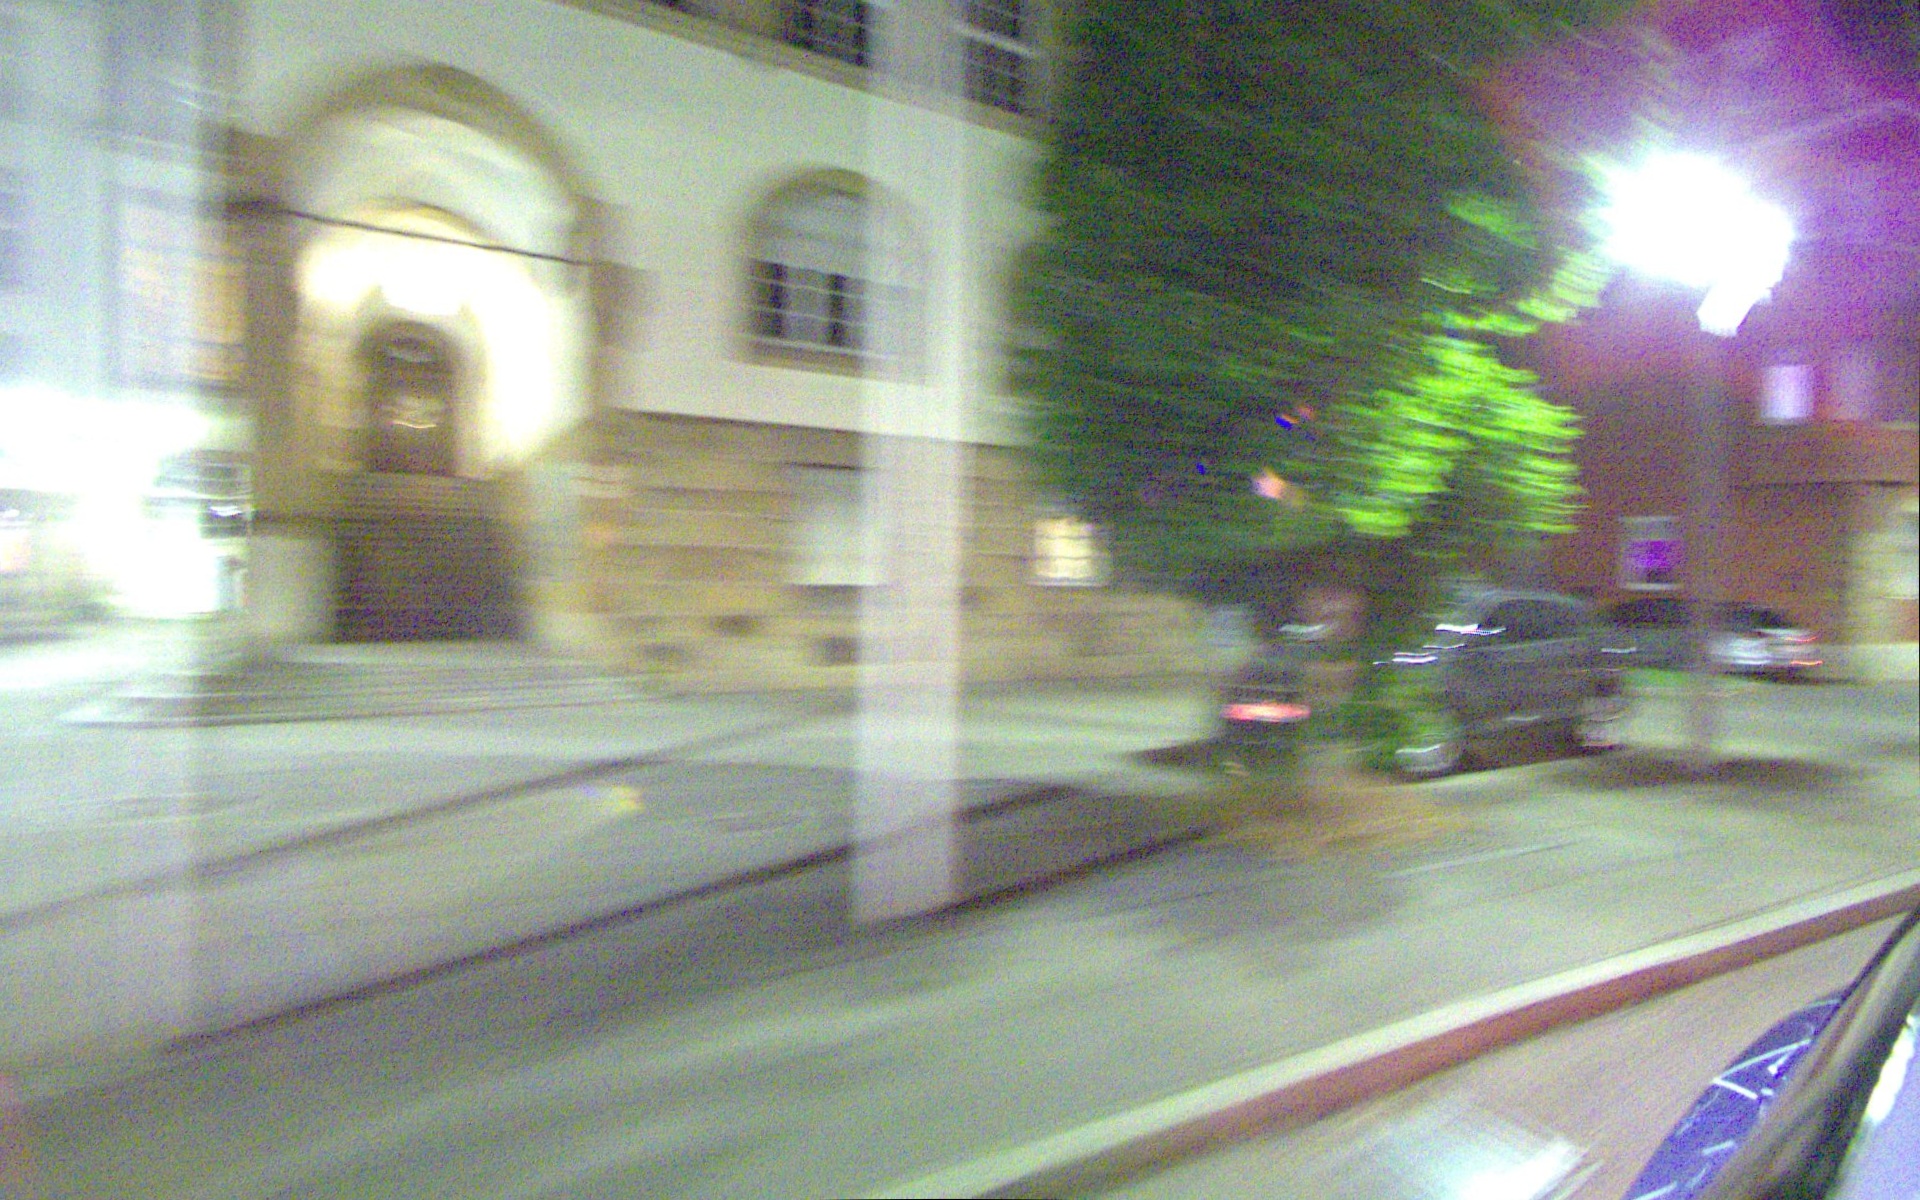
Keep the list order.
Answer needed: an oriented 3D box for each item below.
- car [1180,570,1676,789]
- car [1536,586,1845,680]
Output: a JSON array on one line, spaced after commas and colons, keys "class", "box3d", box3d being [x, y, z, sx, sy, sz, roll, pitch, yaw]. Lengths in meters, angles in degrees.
[{"class": "car", "box3d": [4.219, 0.538, 8.842, 4.635, 1.478, 1.740, 0, 0, -33]}, {"class": "car", "box3d": [13.603, 0.543, 19.203, 1.752, 1.478, 4.451, 1, 1, -23]}]
